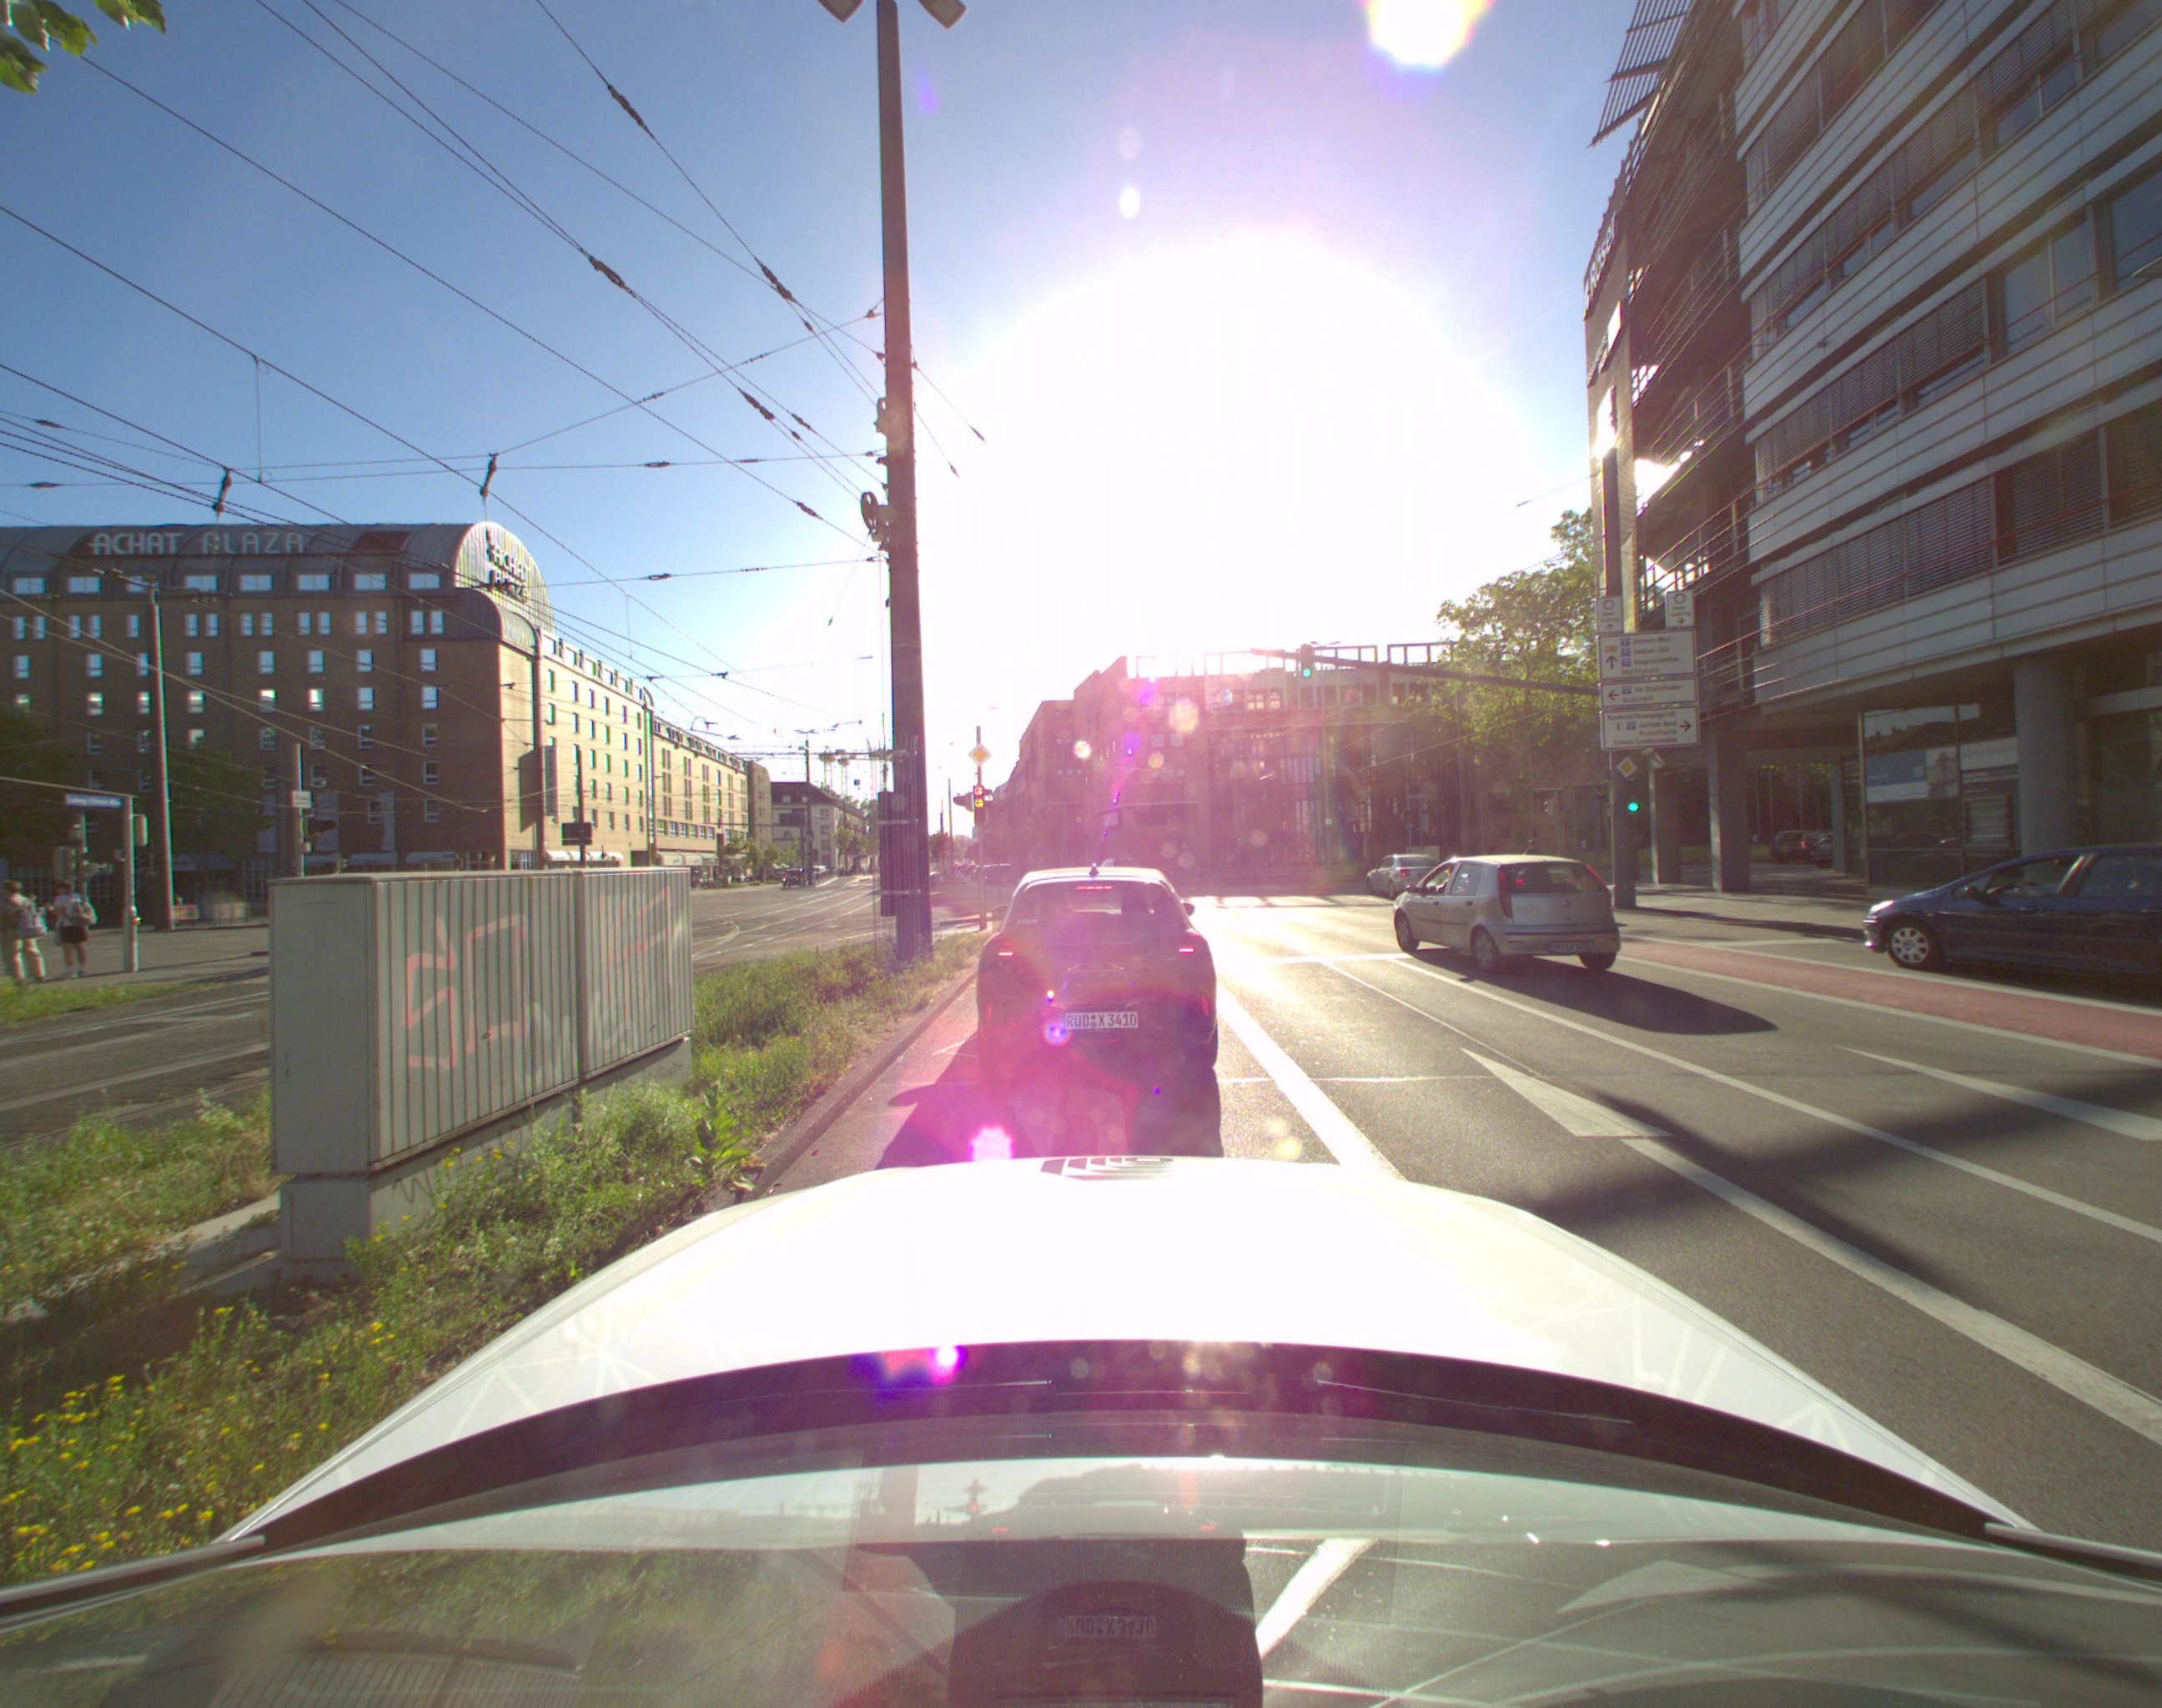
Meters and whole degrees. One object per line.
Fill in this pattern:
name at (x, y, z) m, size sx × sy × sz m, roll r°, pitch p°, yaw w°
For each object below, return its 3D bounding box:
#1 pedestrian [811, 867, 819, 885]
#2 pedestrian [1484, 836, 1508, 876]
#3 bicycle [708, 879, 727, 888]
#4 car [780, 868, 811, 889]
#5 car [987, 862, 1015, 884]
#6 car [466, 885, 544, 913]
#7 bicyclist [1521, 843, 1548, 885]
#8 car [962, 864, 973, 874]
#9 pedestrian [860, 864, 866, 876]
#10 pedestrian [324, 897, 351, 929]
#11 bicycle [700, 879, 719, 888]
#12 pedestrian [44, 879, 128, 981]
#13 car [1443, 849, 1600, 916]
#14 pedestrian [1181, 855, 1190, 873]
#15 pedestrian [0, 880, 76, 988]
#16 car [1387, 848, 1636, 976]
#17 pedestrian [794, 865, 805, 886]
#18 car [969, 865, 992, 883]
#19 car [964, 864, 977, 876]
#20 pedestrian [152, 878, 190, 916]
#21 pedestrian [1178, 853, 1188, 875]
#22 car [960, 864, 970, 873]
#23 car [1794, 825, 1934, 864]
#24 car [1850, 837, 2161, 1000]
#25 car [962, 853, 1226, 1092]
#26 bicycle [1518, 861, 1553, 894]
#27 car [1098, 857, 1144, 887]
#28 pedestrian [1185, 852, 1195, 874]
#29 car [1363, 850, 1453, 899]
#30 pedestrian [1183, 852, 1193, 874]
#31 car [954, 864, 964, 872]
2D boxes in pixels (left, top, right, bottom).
pedestrian at (-23.545, 1.932, 72.035) m, size 0.583 × 1.577 × 0.642 m, roll -2°, pitch -1°, yaw -23°
pedestrian at (18.088, 0.079, 35.513) m, size 0.786 × 1.734 × 0.588 m, roll -1°, pitch -1°, yaw 9°
bicycle at (-42.693, 3.440, 95.632) m, size 2.026 × 0.921 × 0.483 m, roll -3°, pitch 0°, yaw 1°
car at (-27.708, 2.323, 79.233) m, size 1.837 × 1.836 × 4.098 m, roll -4°, pitch 0°, yaw -6°
car at (-5.755, 1.321, 58.417) m, size 1.720 × 1.453 × 3.686 m, roll -3°, pitch 0°, yaw -9°
car at (-38.188, 2.954, 54.095) m, size 1.594 × 1.601 × 3.886 m, roll -2°, pitch 0°, yaw 31°
bicyclist at (15.681, 0.332, 28.168) m, size 0.658 × 1.407 × 0.821 m, roll -1°, pitch 1°, yaw 39°
car at (-17.286, 2.302, 123.965) m, size 1.516 × 1.453 × 3.570 m, roll -3°, pitch 0°, yaw -11°
pedestrian at (-30.981, 2.232, 115.723) m, size 0.863 × 1.670 × 0.779 m, roll -1°, pitch 0°, yaw -20°
pedestrian at (-42.247, 3.347, 46.264) m, size 0.713 × 1.680 × 0.829 m, roll -2°, pitch 1°, yaw -7°
bicycle at (-43.094, 3.470, 94.497) m, size 2.026 × 0.921 × 0.483 m, roll -3°, pitch 0°, yaw 1°
pedestrian at (-19.204, 1.445, 15.737) m, size 0.729 × 1.869 × 0.673 m, roll -2°, pitch 0°, yaw -2°
car at (10.735, 0.663, 20.188) m, size 1.689 × 1.440 × 4.018 m, roll -1°, pitch -1°, yaw 0°
pedestrian at (8.964, 0.860, 69.770) m, size 0.550 × 1.477 × 0.568 m, roll -2°, pitch 0°, yaw -27°
pedestrian at (-19.028, 1.435, 14.744) m, size 0.729 × 1.869 × 0.699 m, roll -2°, pitch 0°, yaw 1°
car at (5.726, 0.685, 11.325) m, size 1.555 × 1.456 × 3.429 m, roll -2°, pitch 0°, yaw -1°
pedestrian at (-24.145, 1.814, 69.798) m, size 0.720 × 1.727 × 0.593 m, roll -2°, pitch 0°, yaw -8°
car at (-9.119, 1.802, 73.809) m, size 1.721 × 1.453 × 3.684 m, roll -3°, pitch 0°, yaw -11°
car at (-14.646, 2.100, 107.731) m, size 1.516 × 1.453 × 3.570 m, roll -3°, pitch 0°, yaw -11°
pedestrian at (-42.026, 1.984, 37.636) m, size 0.711 × 1.680 × 0.832 m, roll -2°, pitch 1°, yaw 2°
pedestrian at (8.487, 0.797, 67.623) m, size 0.573 × 1.786 × 0.546 m, roll -3°, pitch -1°, yaw -17°
car at (-19.442, 2.396, 136.399) m, size 1.516 × 1.453 × 3.570 m, roll -3°, pitch 0°, yaw -11°
car at (32.622, -0.388, 34.036) m, size 3.948 × 1.475 × 1.869 m, roll -2°, pitch 0°, yaw 3°
car at (10.828, 0.579, 8.481) m, size 1.855 × 1.475 × 3.976 m, roll -2°, pitch 0°, yaw 0°
car at (0.141, 0.759, 7.031) m, size 1.665 × 1.502 × 3.692 m, roll -1°, pitch 0°, yaw 2°
bicycle at (15.818, 0.807, 28.339) m, size 0.658 × 1.018 × 2.199 m, roll -1°, pitch 2°, yaw 39°
car at (2.113, 0.940, 43.953) m, size 1.671 × 1.453 × 3.686 m, roll -3°, pitch 0°, yaw -9°
pedestrian at (9.180, 0.740, 68.529) m, size 0.573 × 1.786 × 0.546 m, roll -3°, pitch -1°, yaw -17°
car at (10.945, 0.640, 27.511) m, size 1.687 × 1.475 × 3.987 m, roll -2°, pitch 0°, yaw 5°
pedestrian at (8.792, 0.773, 67.016) m, size 0.573 × 1.786 × 0.546 m, roll -3°, pitch -1°, yaw -17°
car at (-22.548, 2.556, 150.511) m, size 1.516 × 1.453 × 3.570 m, roll -3°, pitch 0°, yaw -11°
